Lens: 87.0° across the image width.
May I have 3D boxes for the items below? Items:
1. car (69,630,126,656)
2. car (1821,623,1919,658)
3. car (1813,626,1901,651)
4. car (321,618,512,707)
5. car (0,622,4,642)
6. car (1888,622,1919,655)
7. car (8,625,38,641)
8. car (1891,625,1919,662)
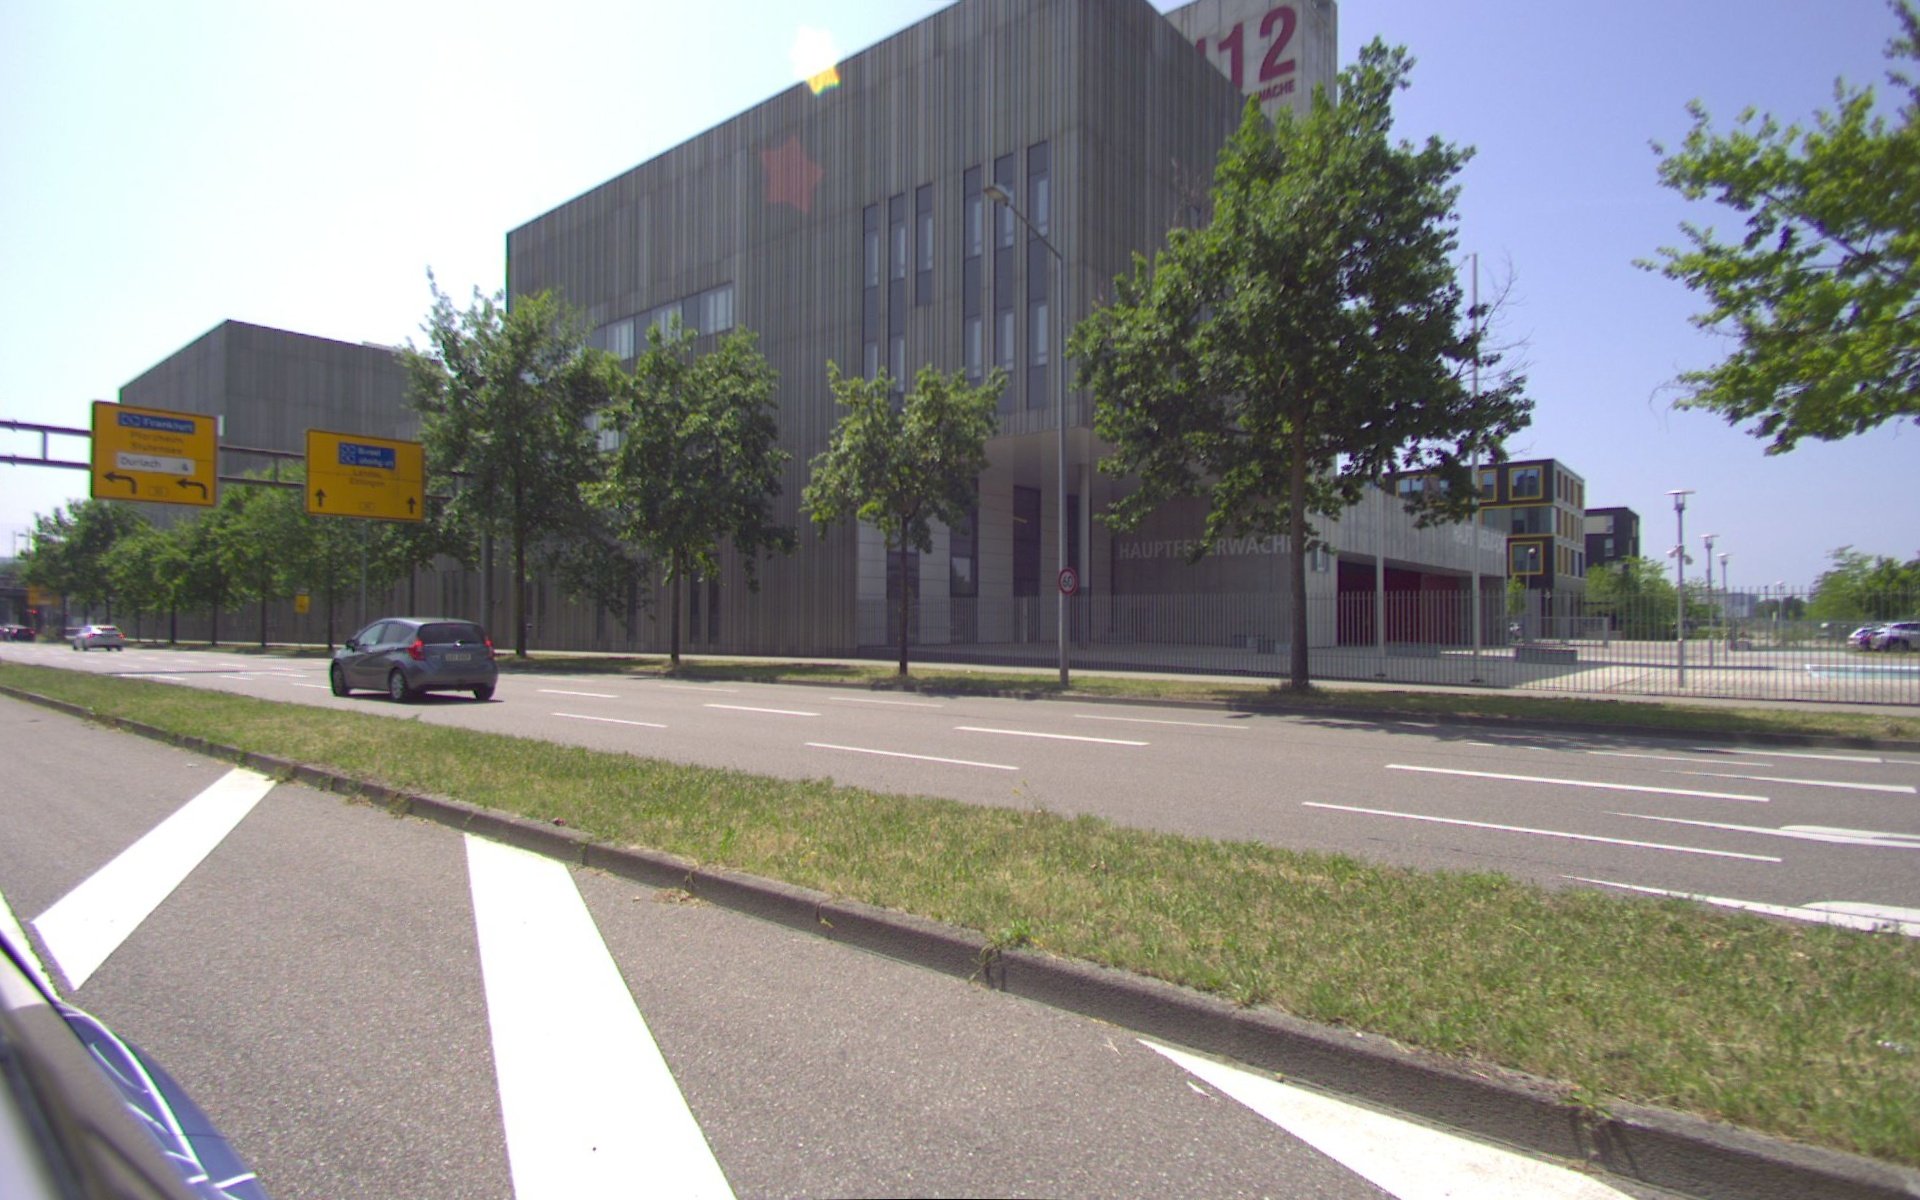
[{"bbox_3d":[-49.373,2.459,57.925,4.356,1.438,1.791,-2,-3,41],"label":"car"},{"bbox_3d":[46.375,2.060,51.588,3.773,1.709,1.639,-1,-2,41],"label":"car"},{"bbox_3d":[52.026,2.201,58.796,3.773,1.420,1.639,-1,-2,41],"label":"car"},{"bbox_3d":[-10.182,1.121,18.872,3.936,1.483,1.691,-1,-3,38],"label":"car"},{"bbox_3d":[-87.132,2.823,90.479,4.640,1.760,1.793,-1,-1,38],"label":"car"},{"bbox_3d":[42.946,1.653,43.799,3.998,1.397,1.973,-1,-1,41],"label":"car"},{"bbox_3d":[-86.496,3.014,93.378,4.014,1.467,1.604,-1,-1,41],"label":"car"},{"bbox_3d":[45.442,2.003,46.567,3.773,1.709,1.639,-1,-1,41],"label":"car"}]
